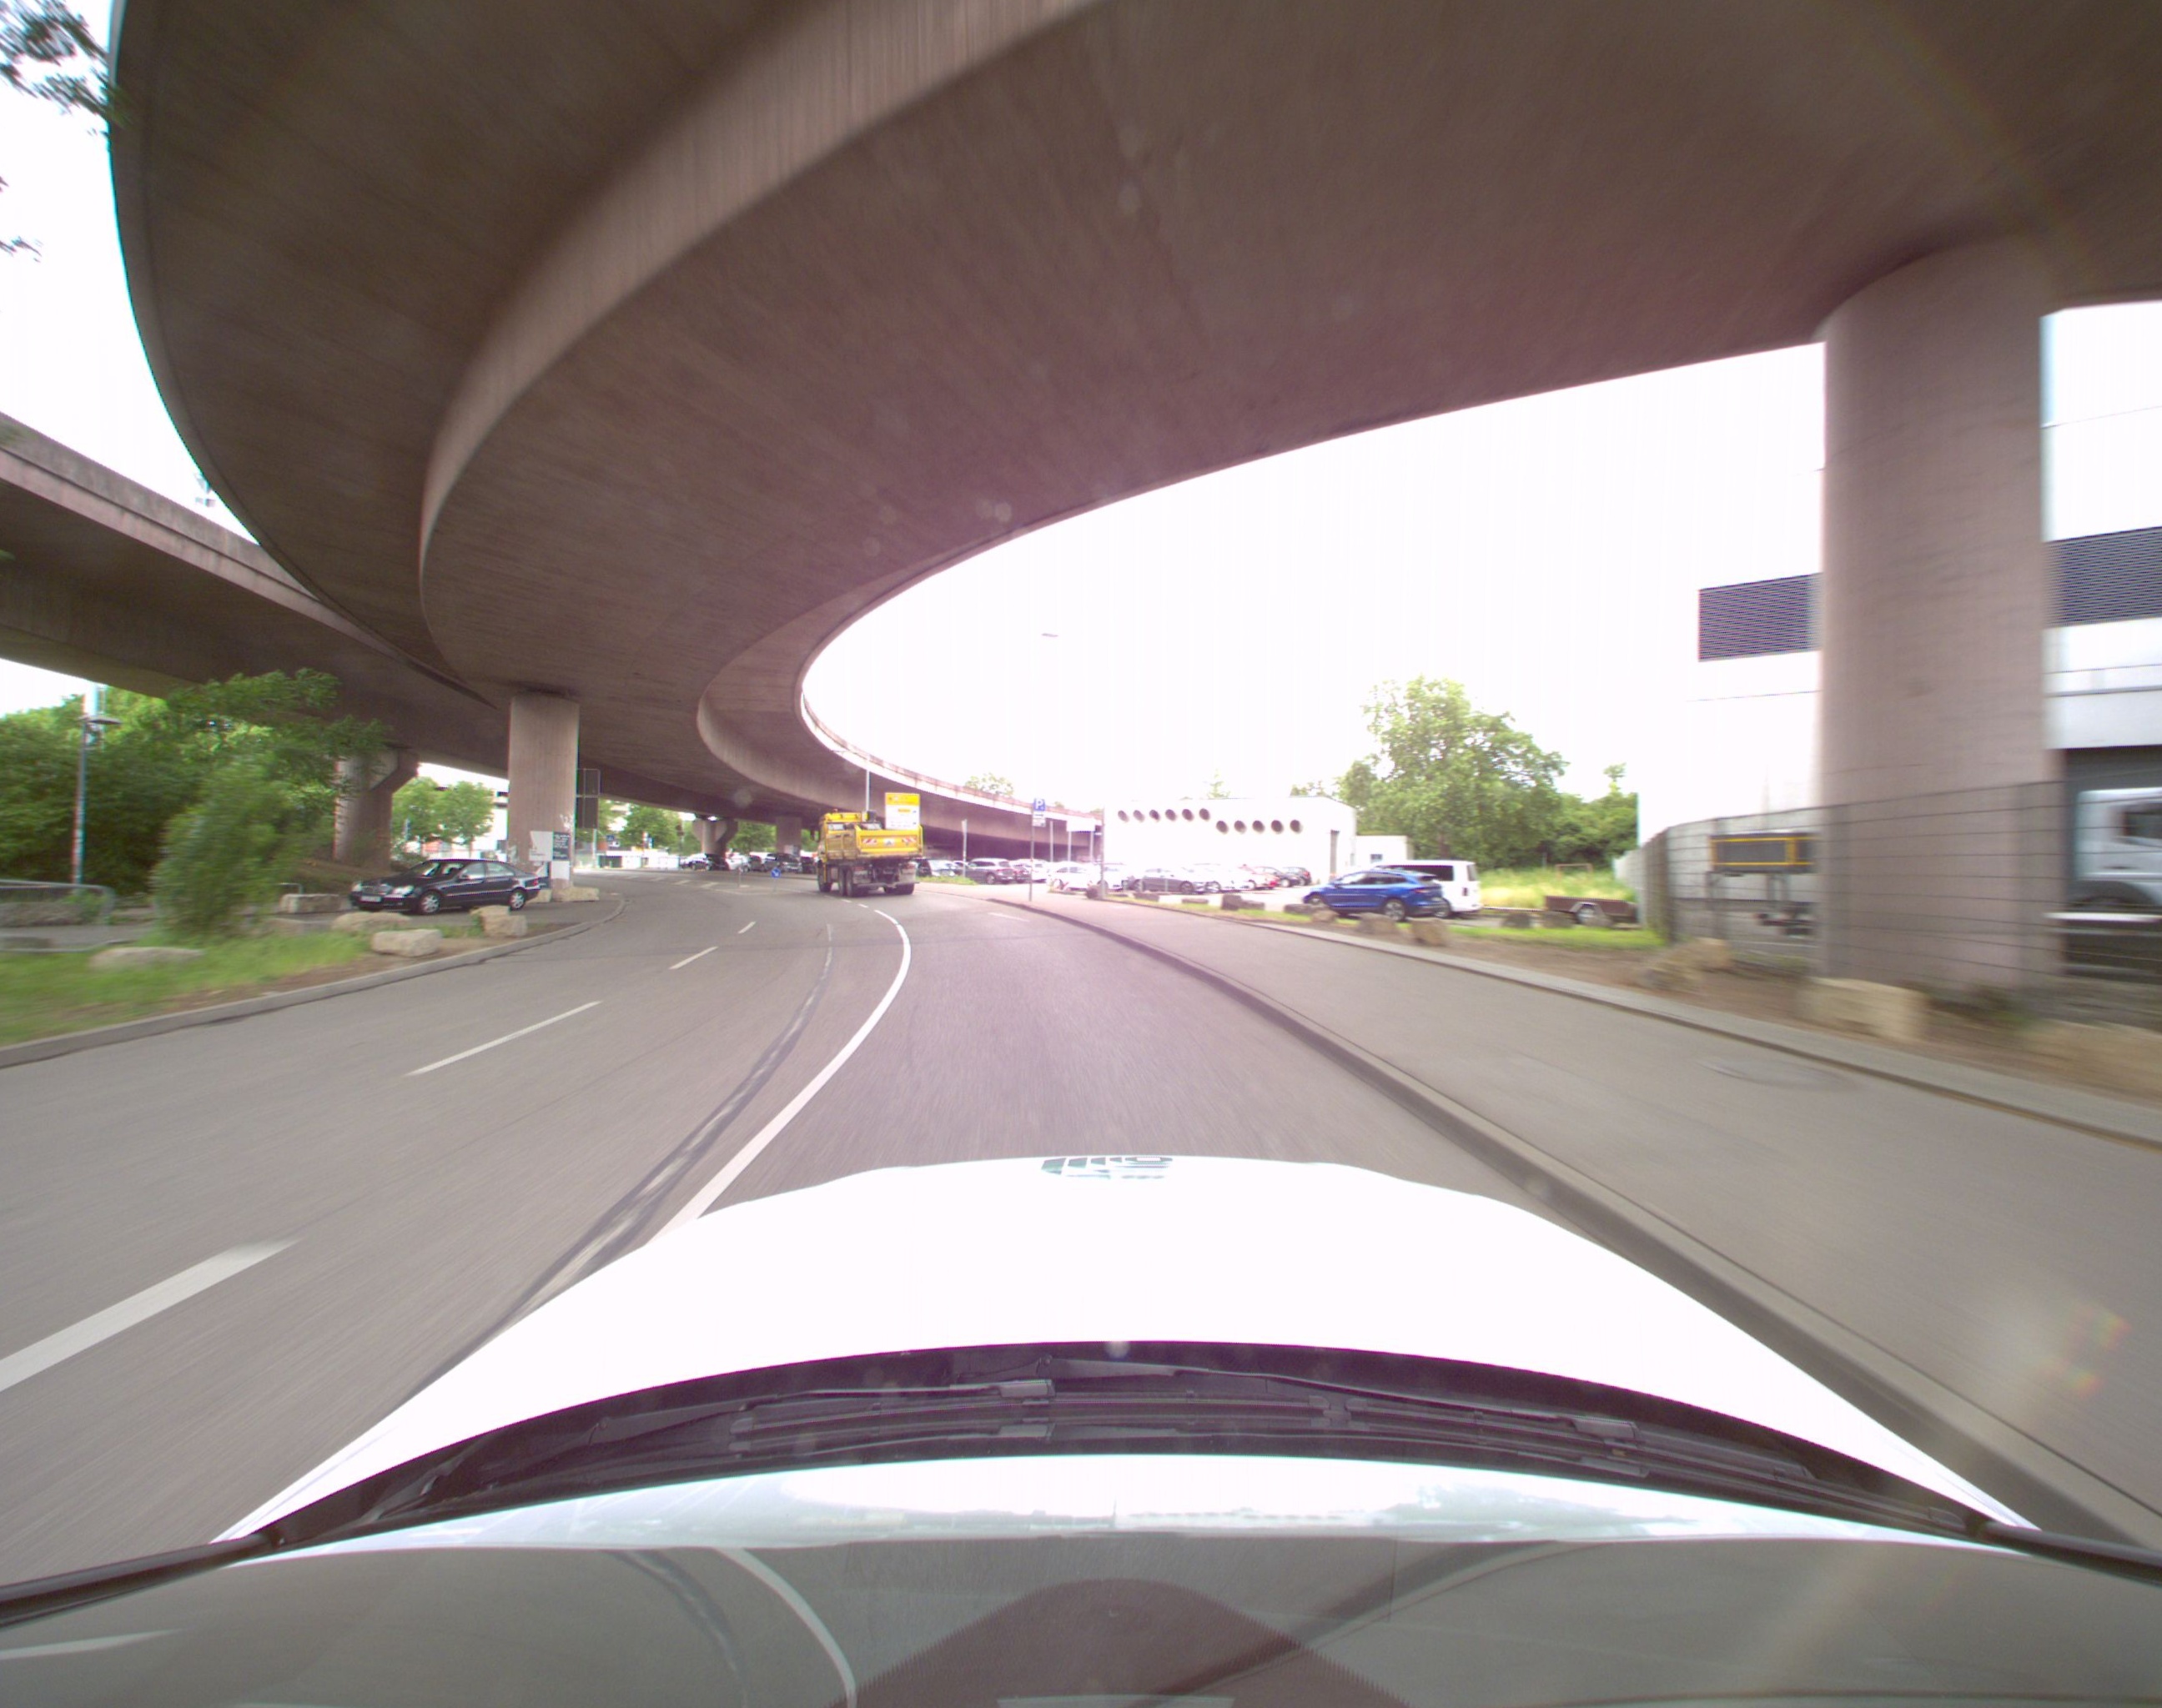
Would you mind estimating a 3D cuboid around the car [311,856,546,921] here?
[{"bbox_3d":[-16.859,0.840,21.439,1.812,1.430,4.785,3,0,8],"label":"car"}]

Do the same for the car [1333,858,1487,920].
[{"bbox_3d":[11.414,1.140,28.414,4.620,1.957,1.906,0,0,39],"label":"car"}]

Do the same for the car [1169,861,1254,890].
[{"bbox_3d":[7.438,1.200,46.590,4.443,1.513,1.851,0,-1,32],"label":"car"}]

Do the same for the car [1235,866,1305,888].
[{"bbox_3d":[13.210,1.581,56.973,4.385,1.425,1.851,0,-1,32],"label":"car"}]

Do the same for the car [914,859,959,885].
[{"bbox_3d":[-8.346,1.012,46.948,1.551,1.479,2.730,1,-1,-36],"label":"car"}]

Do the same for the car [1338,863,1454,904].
[{"bbox_3d":[13.227,1.188,34.249,4.305,1.588,1.787,0,0,32],"label":"car"}]

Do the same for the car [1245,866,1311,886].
[{"bbox_3d":[14.643,1.621,60.637,4.385,1.425,1.851,0,-1,32],"label":"car"}]

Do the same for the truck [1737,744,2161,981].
[{"bbox_3d":[13.386,0.124,10.890,2.420,2.744,7.200,1,-1,-14],"label":"truck"}]

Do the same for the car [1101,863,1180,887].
[{"bbox_3d":[3.715,1.288,51.112,4.561,1.444,1.870,0,-1,30],"label":"car"}]

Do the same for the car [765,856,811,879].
[{"bbox_3d":[-21.084,0.970,58.555,3.366,1.533,1.621,0,-3,40],"label":"car"}]

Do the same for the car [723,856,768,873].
[{"bbox_3d":[-30.833,0.947,74.860,3.961,1.552,1.648,0,-1,26],"label":"car"}]

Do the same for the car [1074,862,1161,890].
[{"bbox_3d":[2.058,1.247,46.646,4.627,1.475,1.870,0,-1,30],"label":"car"}]

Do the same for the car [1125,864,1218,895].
[{"bbox_3d":[4.653,1.283,41.938,4.385,1.425,1.851,0,-1,32],"label":"car"}]

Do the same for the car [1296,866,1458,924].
[{"bbox_3d":[9.424,1.237,26.222,1.785,1.634,4.629,1,0,-41],"label":"car"}]

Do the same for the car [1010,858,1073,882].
[{"bbox_3d":[-2.980,1.182,60.748,4.375,1.691,1.767,0,-1,30],"label":"car"}]

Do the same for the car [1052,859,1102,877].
[{"bbox_3d":[-0.386,1.256,73.336,4.138,1.592,1.849,0,-1,30],"label":"car"}]

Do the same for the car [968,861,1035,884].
[{"bbox_3d":[-5.497,1.266,56.332,4.402,1.449,1.767,0,-1,30],"label":"car"}]

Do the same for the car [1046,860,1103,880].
[{"bbox_3d":[-0.527,1.270,64.699,4.207,1.509,1.719,0,-1,30],"label":"car"}]

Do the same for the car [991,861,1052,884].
[{"bbox_3d":[-4.315,1.329,58.708,4.035,1.557,1.767,0,-1,30],"label":"car"}]

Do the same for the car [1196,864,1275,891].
[{"bbox_3d":[9.572,1.429,50.585,4.443,1.513,1.851,0,-1,32],"label":"car"}]

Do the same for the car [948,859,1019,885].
[{"bbox_3d":[-6.485,1.182,54.049,4.413,1.675,1.756,0,-1,30],"label":"car"}]

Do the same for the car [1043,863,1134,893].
[{"bbox_3d":[0.387,1.286,44.583,4.626,1.475,1.870,0,-1,32],"label":"car"}]

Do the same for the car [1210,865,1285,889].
[{"bbox_3d":[10.749,1.486,52.720,4.385,1.425,1.851,0,-1,32],"label":"car"}]

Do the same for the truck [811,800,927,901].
[{"bbox_3d":[-9.006,-0.146,33.816,2.774,3.698,7.807,-2,1,-29],"label":"truck"}]

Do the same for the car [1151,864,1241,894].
[{"bbox_3d":[6.216,1.311,44.214,4.443,1.513,1.851,0,-1,32],"label":"car"}]

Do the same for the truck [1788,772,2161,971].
[{"bbox_3d":[16.513,0.280,14.289,2.450,2.886,6.100,1,-1,-9],"label":"truck"}]

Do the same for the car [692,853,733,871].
[{"bbox_3d":[-29.692,0.624,65.549,3.534,1.397,1.621,0,-3,40],"label":"car"}]

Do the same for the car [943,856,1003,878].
[{"bbox_3d":[-8.087,0.957,60.746,4.138,1.592,1.849,0,-1,30],"label":"car"}]

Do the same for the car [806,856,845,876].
[{"bbox_3d":[-20.593,0.997,65.641,1.799,1.507,3.815,3,-3,-37],"label":"car"}]

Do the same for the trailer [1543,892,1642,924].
[{"bbox_3d":[15.962,1.671,25.532,2.528,0.899,1.493,-1,-1,28],"label":"trailer"}]

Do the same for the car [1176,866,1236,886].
[{"bbox_3d":[9.099,1.590,59.179,3.925,1.392,1.780,0,-1,30],"label":"car"}]

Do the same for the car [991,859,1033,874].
[{"bbox_3d":[-7.305,1.335,86.062,4.138,1.466,1.849,0,-1,30],"label":"car"}]
